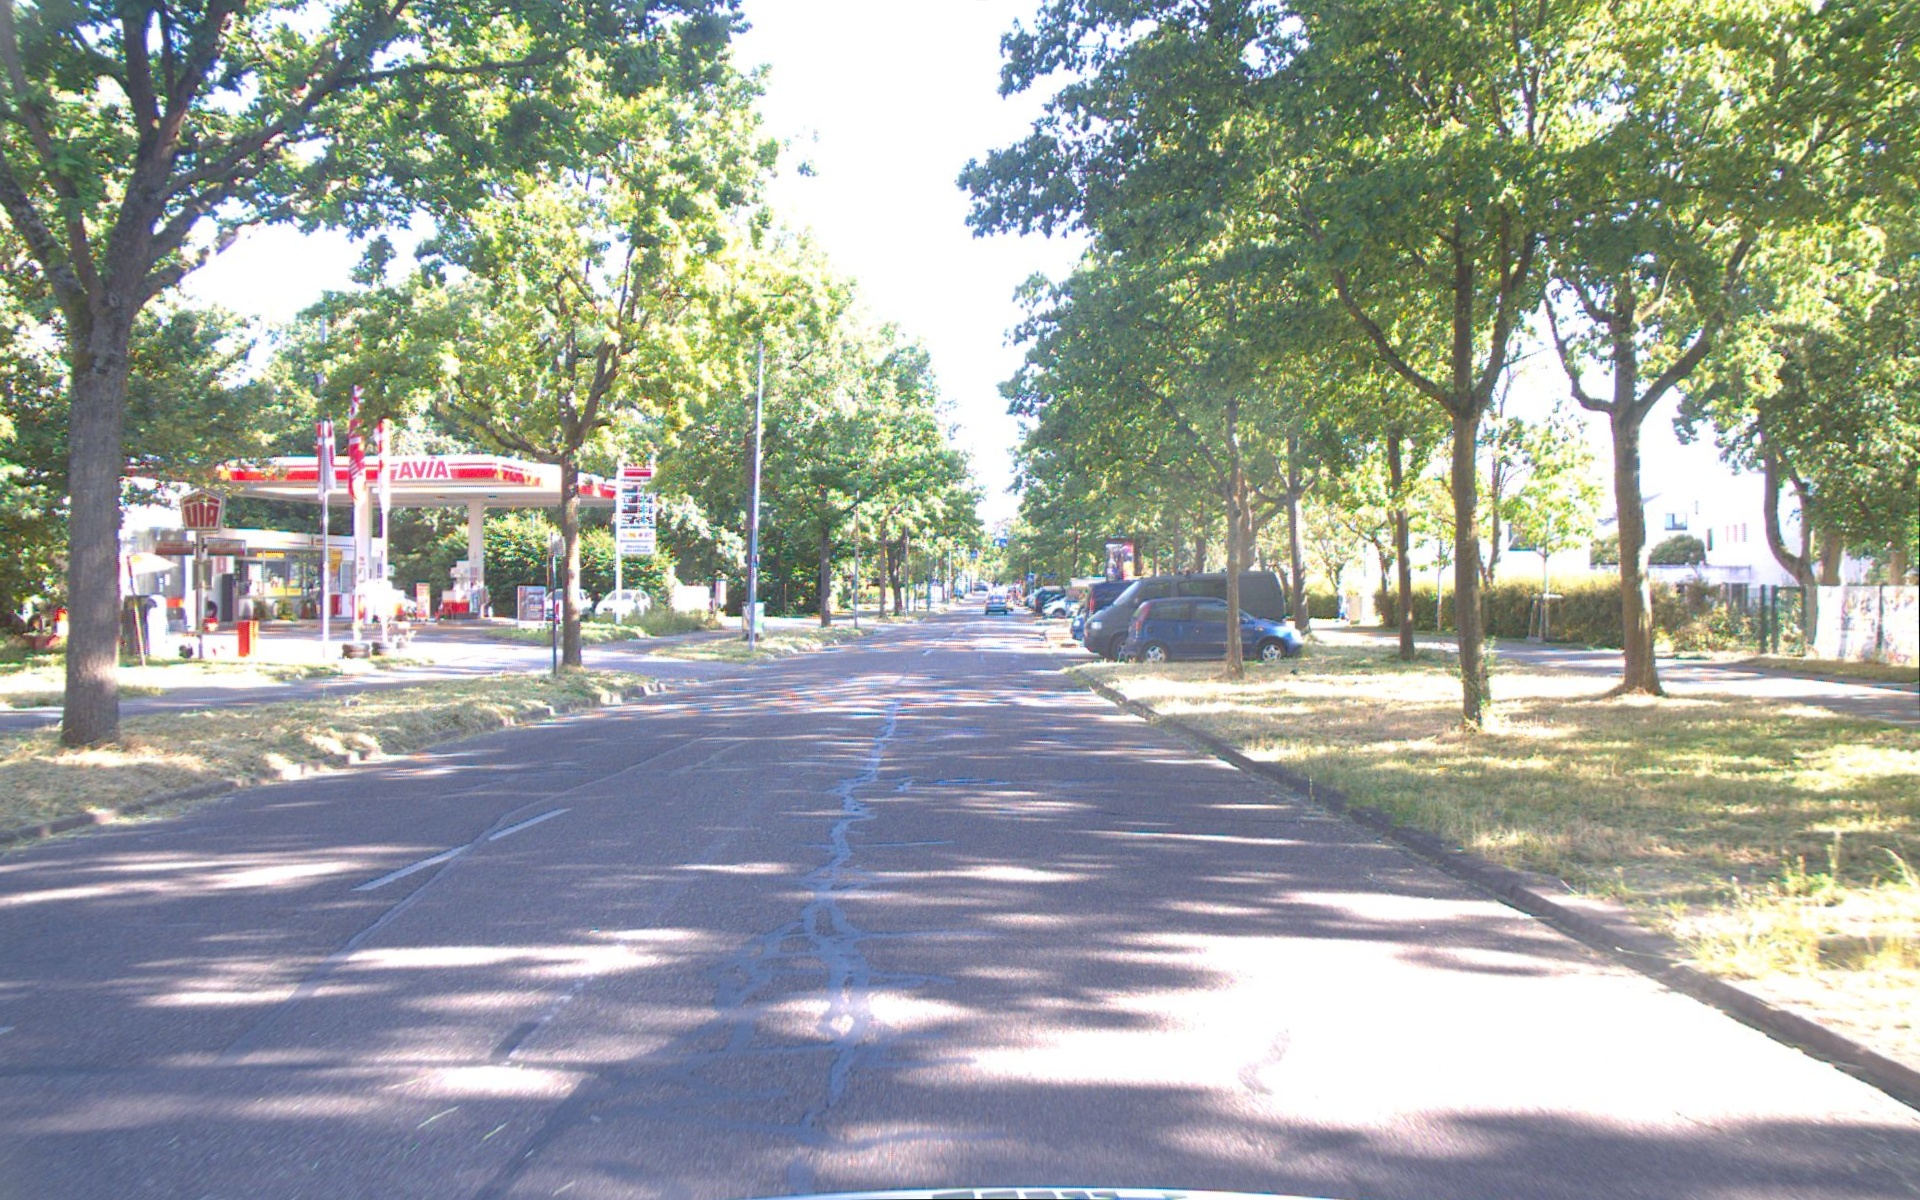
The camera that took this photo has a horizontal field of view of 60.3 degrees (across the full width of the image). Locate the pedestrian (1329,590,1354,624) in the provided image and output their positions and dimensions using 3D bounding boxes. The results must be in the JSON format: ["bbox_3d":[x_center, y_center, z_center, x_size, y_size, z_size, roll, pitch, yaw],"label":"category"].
[{"bbox_3d":[17.632,0.330,76.514,0.865,1.526,0.942,-1,0,30],"label":"pedestrian"}]

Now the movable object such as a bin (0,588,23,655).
[{"bbox_3d":[-23.402,0.497,39.573,1.277,1.569,1.164,1,0,2],"label":"movable object such as a bin"}]

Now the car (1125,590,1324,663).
[{"bbox_3d":[5.510,0.543,34.784,3.906,1.428,1.740,-1,0,1],"label":"car"}]

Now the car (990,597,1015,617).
[{"bbox_3d":[3.622,0.570,142.576,1.953,1.684,3.999,0,0,-1],"label":"car"}]

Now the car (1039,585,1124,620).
[{"bbox_3d":[6.603,0.143,90.198,4.545,1.752,1.988,-2,0,2],"label":"car"}]

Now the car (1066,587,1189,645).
[{"bbox_3d":[4.851,0.451,48.144,3.447,1.559,1.666,-2,0,3],"label":"car"}]

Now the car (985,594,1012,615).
[{"bbox_3d":[2.873,0.340,124.015,1.953,1.510,4.000,0,0,0],"label":"car"}]

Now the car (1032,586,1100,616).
[{"bbox_3d":[7.016,0.058,109.729,4.436,1.832,1.937,-1,0,2],"label":"car"}]

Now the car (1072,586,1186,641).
[{"bbox_3d":[5.354,0.429,52.745,3.508,1.604,1.787,-2,0,3],"label":"car"}]

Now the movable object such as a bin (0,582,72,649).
[{"bbox_3d":[-22.369,0.368,39.820,1.277,1.569,1.268,0,0,2],"label":"movable object such as a bin"}]

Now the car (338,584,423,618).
[{"bbox_3d":[-25.710,0.034,73.395,3.126,1.425,1.586,2,0,9],"label":"car"}]

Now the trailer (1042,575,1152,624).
[{"bbox_3d":[7.234,-0.041,87.371,5.654,2.358,1.687,-2,0,3],"label":"trailer"}]

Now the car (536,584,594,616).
[{"bbox_3d":[-18.064,0.000,75.753,1.392,1.391,3.208,2,0,9],"label":"car"}]

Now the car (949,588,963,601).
[{"bbox_3d":[-0.606,-0.799,240.271,1.952,1.746,4.001,1,0,1],"label":"car"}]

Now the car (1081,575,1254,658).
[{"bbox_3d":[5.005,0.396,40.270,3.927,1.869,1.799,-2,0,-1],"label":"car"}]

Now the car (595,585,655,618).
[{"bbox_3d":[-15.365,0.048,75.900,1.513,1.447,3.490,2,0,9],"label":"car"}]

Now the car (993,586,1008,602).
[{"bbox_3d":[5.216,-0.756,213.197,1.952,1.966,4.001,1,0,1],"label":"car"}]

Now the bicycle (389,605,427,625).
[{"bbox_3d":[-23.006,0.621,68.912,0.604,0.821,1.781,0,0,16],"label":"bicycle"}]

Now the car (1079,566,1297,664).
[{"bbox_3d":[5.123,0.327,37.651,4.704,2.067,1.944,-1,0,1],"label":"car"}]

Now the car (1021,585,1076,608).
[{"bbox_3d":[8.406,-0.355,157.122,5.081,2.142,2.082,-1,0,0],"label":"car"}]
